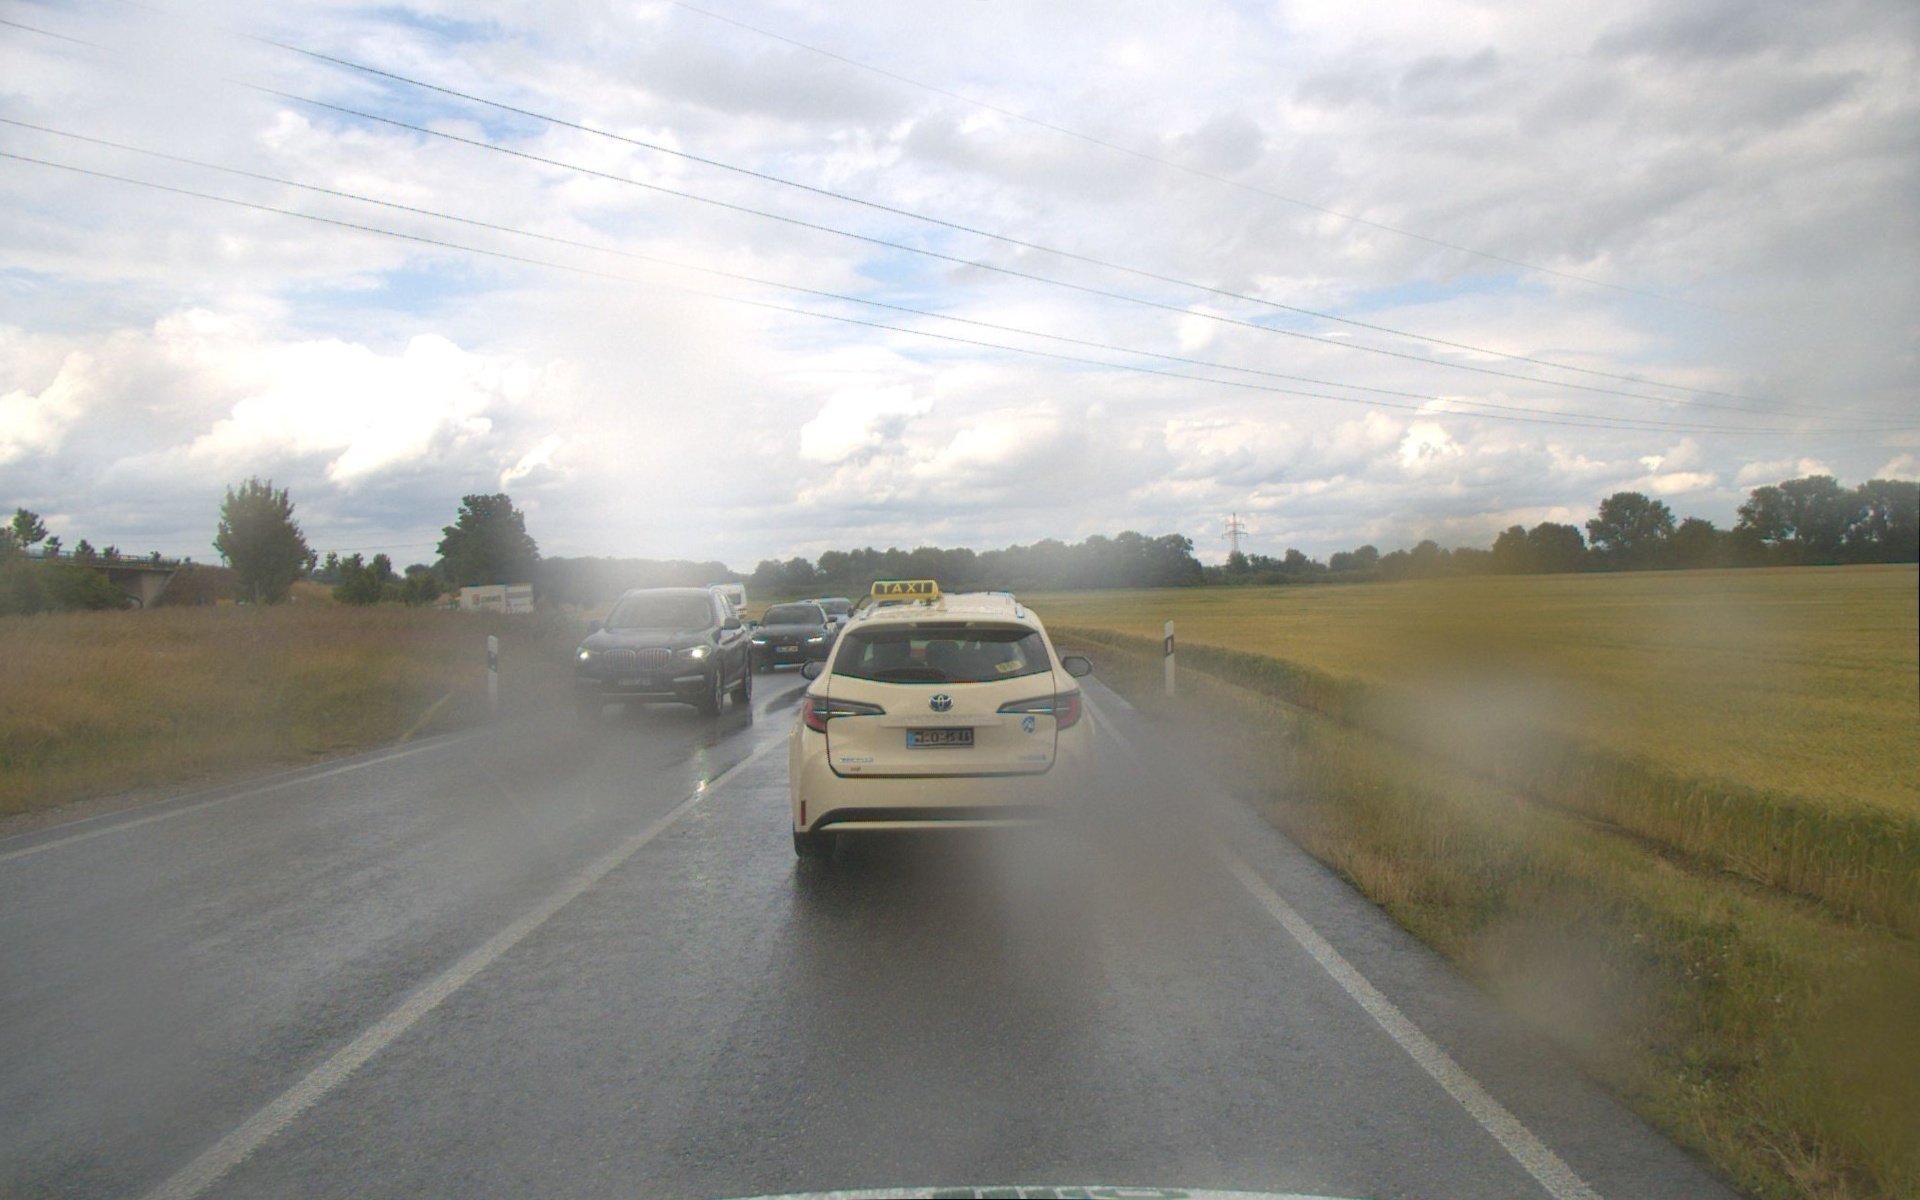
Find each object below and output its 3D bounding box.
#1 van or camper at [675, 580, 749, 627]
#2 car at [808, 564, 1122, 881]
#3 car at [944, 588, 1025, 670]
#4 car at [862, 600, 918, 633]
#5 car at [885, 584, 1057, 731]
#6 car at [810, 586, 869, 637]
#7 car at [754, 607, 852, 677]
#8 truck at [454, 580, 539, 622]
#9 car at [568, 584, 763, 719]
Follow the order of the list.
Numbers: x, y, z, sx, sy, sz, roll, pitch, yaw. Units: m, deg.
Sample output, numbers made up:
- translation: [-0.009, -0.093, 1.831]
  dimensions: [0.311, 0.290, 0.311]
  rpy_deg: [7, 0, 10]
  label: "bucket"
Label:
- translation: [-16.224, 0.238, 107.951]
  dimensions: [2.510, 2.947, 6.674]
  rpy_deg: [1, 0, -30]
  label: "van or camper"
- translation: [0.071, 0.673, 10.344]
  dimensions: [1.579, 1.590, 3.738]
  rpy_deg: [1, -1, 1]
  label: "car"
- translation: [0.589, 0.663, 36.557]
  dimensions: [1.579, 1.688, 3.739]
  rpy_deg: [1, -1, 4]
  label: "car"
- translation: [-3.261, 0.799, 76.448]
  dimensions: [1.925, 1.438, 4.379]
  rpy_deg: [1, -1, -11]
  label: "car"
- translation: [0.079, 0.624, 19.896]
  dimensions: [1.804, 1.518, 4.607]
  rpy_deg: [1, 0, -1]
  label: "car"
- translation: [-4.118, 0.384, 55.918]
  dimensions: [1.872, 1.637, 4.085]
  rpy_deg: [-1, 0, -6]
  label: "car"
- translation: [-3.493, 0.906, 37.403]
  dimensions: [1.811, 1.473, 4.090]
  rpy_deg: [-1, 0, 0]
  label: "car"
- translation: [-38.139, 0.090, 135.943]
  dimensions: [8.091, 3.266, 3.003]
  rpy_deg: [0, -2, 44]
  label: "truck"
- translation: [-3.916, 0.647, 22.740]
  dimensions: [1.810, 1.660, 4.535]
  rpy_deg: [0, 0, 1]
  label: "car"
